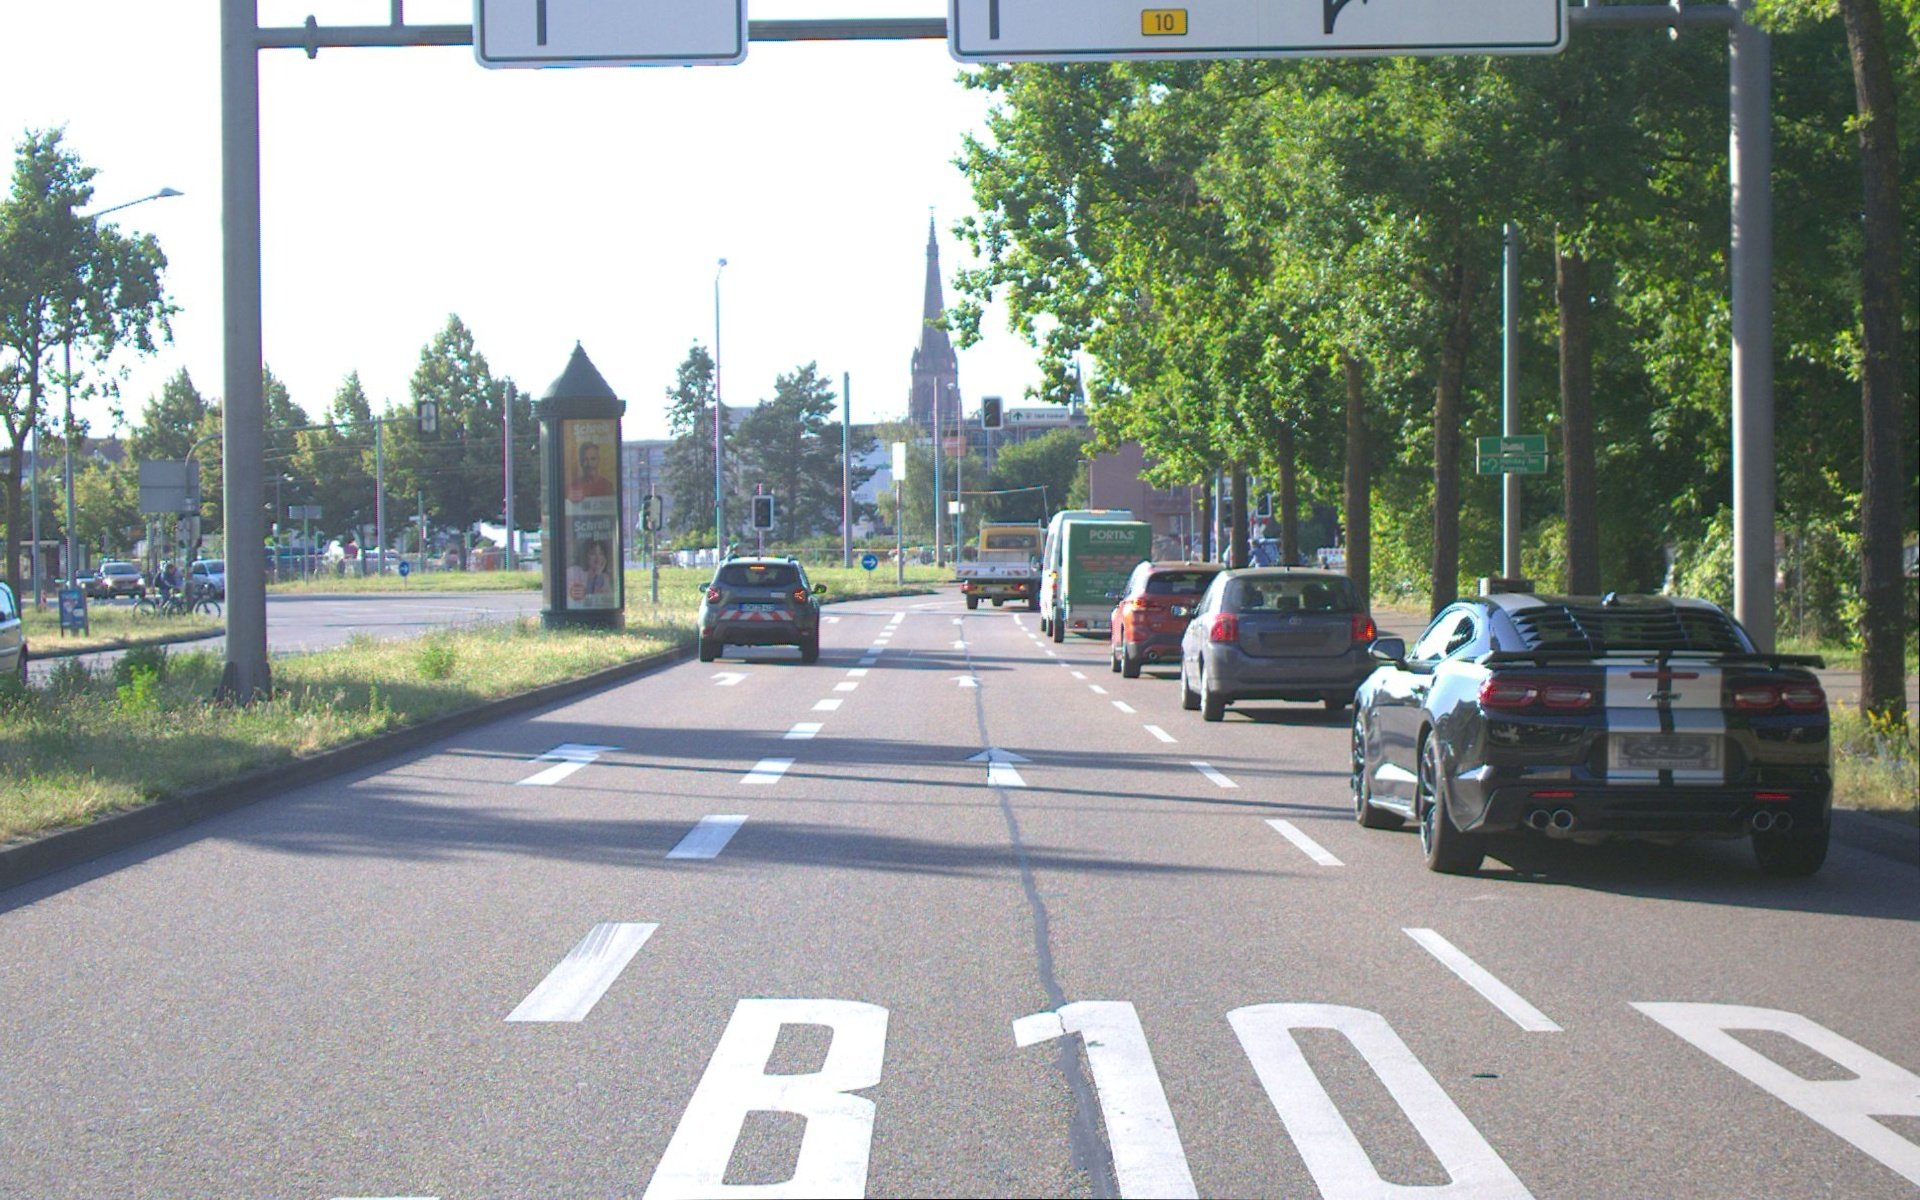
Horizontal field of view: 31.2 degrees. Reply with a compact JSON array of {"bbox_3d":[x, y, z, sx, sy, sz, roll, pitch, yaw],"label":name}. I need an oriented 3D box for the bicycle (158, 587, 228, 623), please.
[{"bbox_3d":[-22.016,0.135,98.714,1.909,1.016,0.504,0,1,7],"label":"bicycle"}]

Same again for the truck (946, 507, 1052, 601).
[{"bbox_3d":[1.162,-1.328,97.489,2.581,2.549,6.251,-1,1,4],"label":"truck"}]

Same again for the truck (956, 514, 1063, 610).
[{"bbox_3d":[1.435,-1.098,97.167,2.220,2.642,4.771,0,1,10],"label":"truck"}]

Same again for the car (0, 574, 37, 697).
[{"bbox_3d":[-13.215,0.469,44.839,1.562,1.569,3.413,-1,1,-3],"label":"car"}]

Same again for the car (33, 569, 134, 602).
[{"bbox_3d":[-39.845,-0.665,156.303,4.139,1.371,1.671,-1,2,19],"label":"car"}]

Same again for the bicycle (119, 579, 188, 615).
[{"bbox_3d":[-22.877,-0.085,97.493,1.910,1.016,0.504,1,1,15],"label":"bicycle"}]

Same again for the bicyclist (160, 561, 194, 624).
[{"bbox_3d":[-22.505,-0.217,98.779,0.813,1.782,0.496,1,1,8],"label":"bicyclist"}]

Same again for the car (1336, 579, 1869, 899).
[{"bbox_3d":[3.119,0.606,17.655,1.854,1.333,4.625,1,1,0],"label":"car"}]

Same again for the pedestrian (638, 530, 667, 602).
[{"bbox_3d":[-8.601,-0.951,96.199,0.789,2.007,0.701,-1,1,-6],"label":"pedestrian"}]

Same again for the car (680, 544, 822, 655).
[{"bbox_3d":[-3.250,-0.041,54.143,1.905,1.654,4.000,-1,1,1],"label":"car"}]

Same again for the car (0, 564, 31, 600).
[{"bbox_3d":[-40.904,-0.718,144.866,1.668,1.436,3.613,-1,2,17],"label":"car"}]

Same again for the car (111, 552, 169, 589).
[{"bbox_3d":[-33.614,-1.239,140.999,1.902,1.439,4.140,-1,1,-8],"label":"car"}]

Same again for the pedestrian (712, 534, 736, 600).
[{"bbox_3d":[-6.527,-0.915,95.116,0.486,1.837,0.719,-1,1,7],"label":"pedestrian"}]

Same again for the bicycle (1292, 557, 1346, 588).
[{"bbox_3d":[10.431,-0.810,99.996,1.459,0.783,0.440,-5,3,-17],"label":"bicycle"}]

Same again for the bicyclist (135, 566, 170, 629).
[{"bbox_3d":[-22.906,-0.084,97.504,0.813,1.764,0.496,1,1,15],"label":"bicyclist"}]

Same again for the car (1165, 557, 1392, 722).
[{"bbox_3d":[3.092,0.344,34.021,1.747,1.468,3.820,-1,1,-2],"label":"car"}]

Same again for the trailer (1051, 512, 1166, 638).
[{"bbox_3d":[2.882,-0.516,67.539,2.090,2.392,3.501,1,1,0],"label":"trailer"}]

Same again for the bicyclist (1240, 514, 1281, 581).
[{"bbox_3d":[8.634,-1.517,98.929,0.938,1.892,0.600,-2,1,36],"label":"bicyclist"}]

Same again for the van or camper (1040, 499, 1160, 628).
[{"bbox_3d":[2.940,-0.822,73.634,2.284,2.620,6.583,0,1,0],"label":"van or camper"}]

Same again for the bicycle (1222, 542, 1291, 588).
[{"bbox_3d":[8.528,-1.008,99.026,1.908,1.240,0.608,-2,1,36],"label":"bicycle"}]

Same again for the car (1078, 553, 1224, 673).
[{"bbox_3d":[2.627,0.164,48.058,1.747,1.615,3.820,0,0,-1],"label":"car"}]
